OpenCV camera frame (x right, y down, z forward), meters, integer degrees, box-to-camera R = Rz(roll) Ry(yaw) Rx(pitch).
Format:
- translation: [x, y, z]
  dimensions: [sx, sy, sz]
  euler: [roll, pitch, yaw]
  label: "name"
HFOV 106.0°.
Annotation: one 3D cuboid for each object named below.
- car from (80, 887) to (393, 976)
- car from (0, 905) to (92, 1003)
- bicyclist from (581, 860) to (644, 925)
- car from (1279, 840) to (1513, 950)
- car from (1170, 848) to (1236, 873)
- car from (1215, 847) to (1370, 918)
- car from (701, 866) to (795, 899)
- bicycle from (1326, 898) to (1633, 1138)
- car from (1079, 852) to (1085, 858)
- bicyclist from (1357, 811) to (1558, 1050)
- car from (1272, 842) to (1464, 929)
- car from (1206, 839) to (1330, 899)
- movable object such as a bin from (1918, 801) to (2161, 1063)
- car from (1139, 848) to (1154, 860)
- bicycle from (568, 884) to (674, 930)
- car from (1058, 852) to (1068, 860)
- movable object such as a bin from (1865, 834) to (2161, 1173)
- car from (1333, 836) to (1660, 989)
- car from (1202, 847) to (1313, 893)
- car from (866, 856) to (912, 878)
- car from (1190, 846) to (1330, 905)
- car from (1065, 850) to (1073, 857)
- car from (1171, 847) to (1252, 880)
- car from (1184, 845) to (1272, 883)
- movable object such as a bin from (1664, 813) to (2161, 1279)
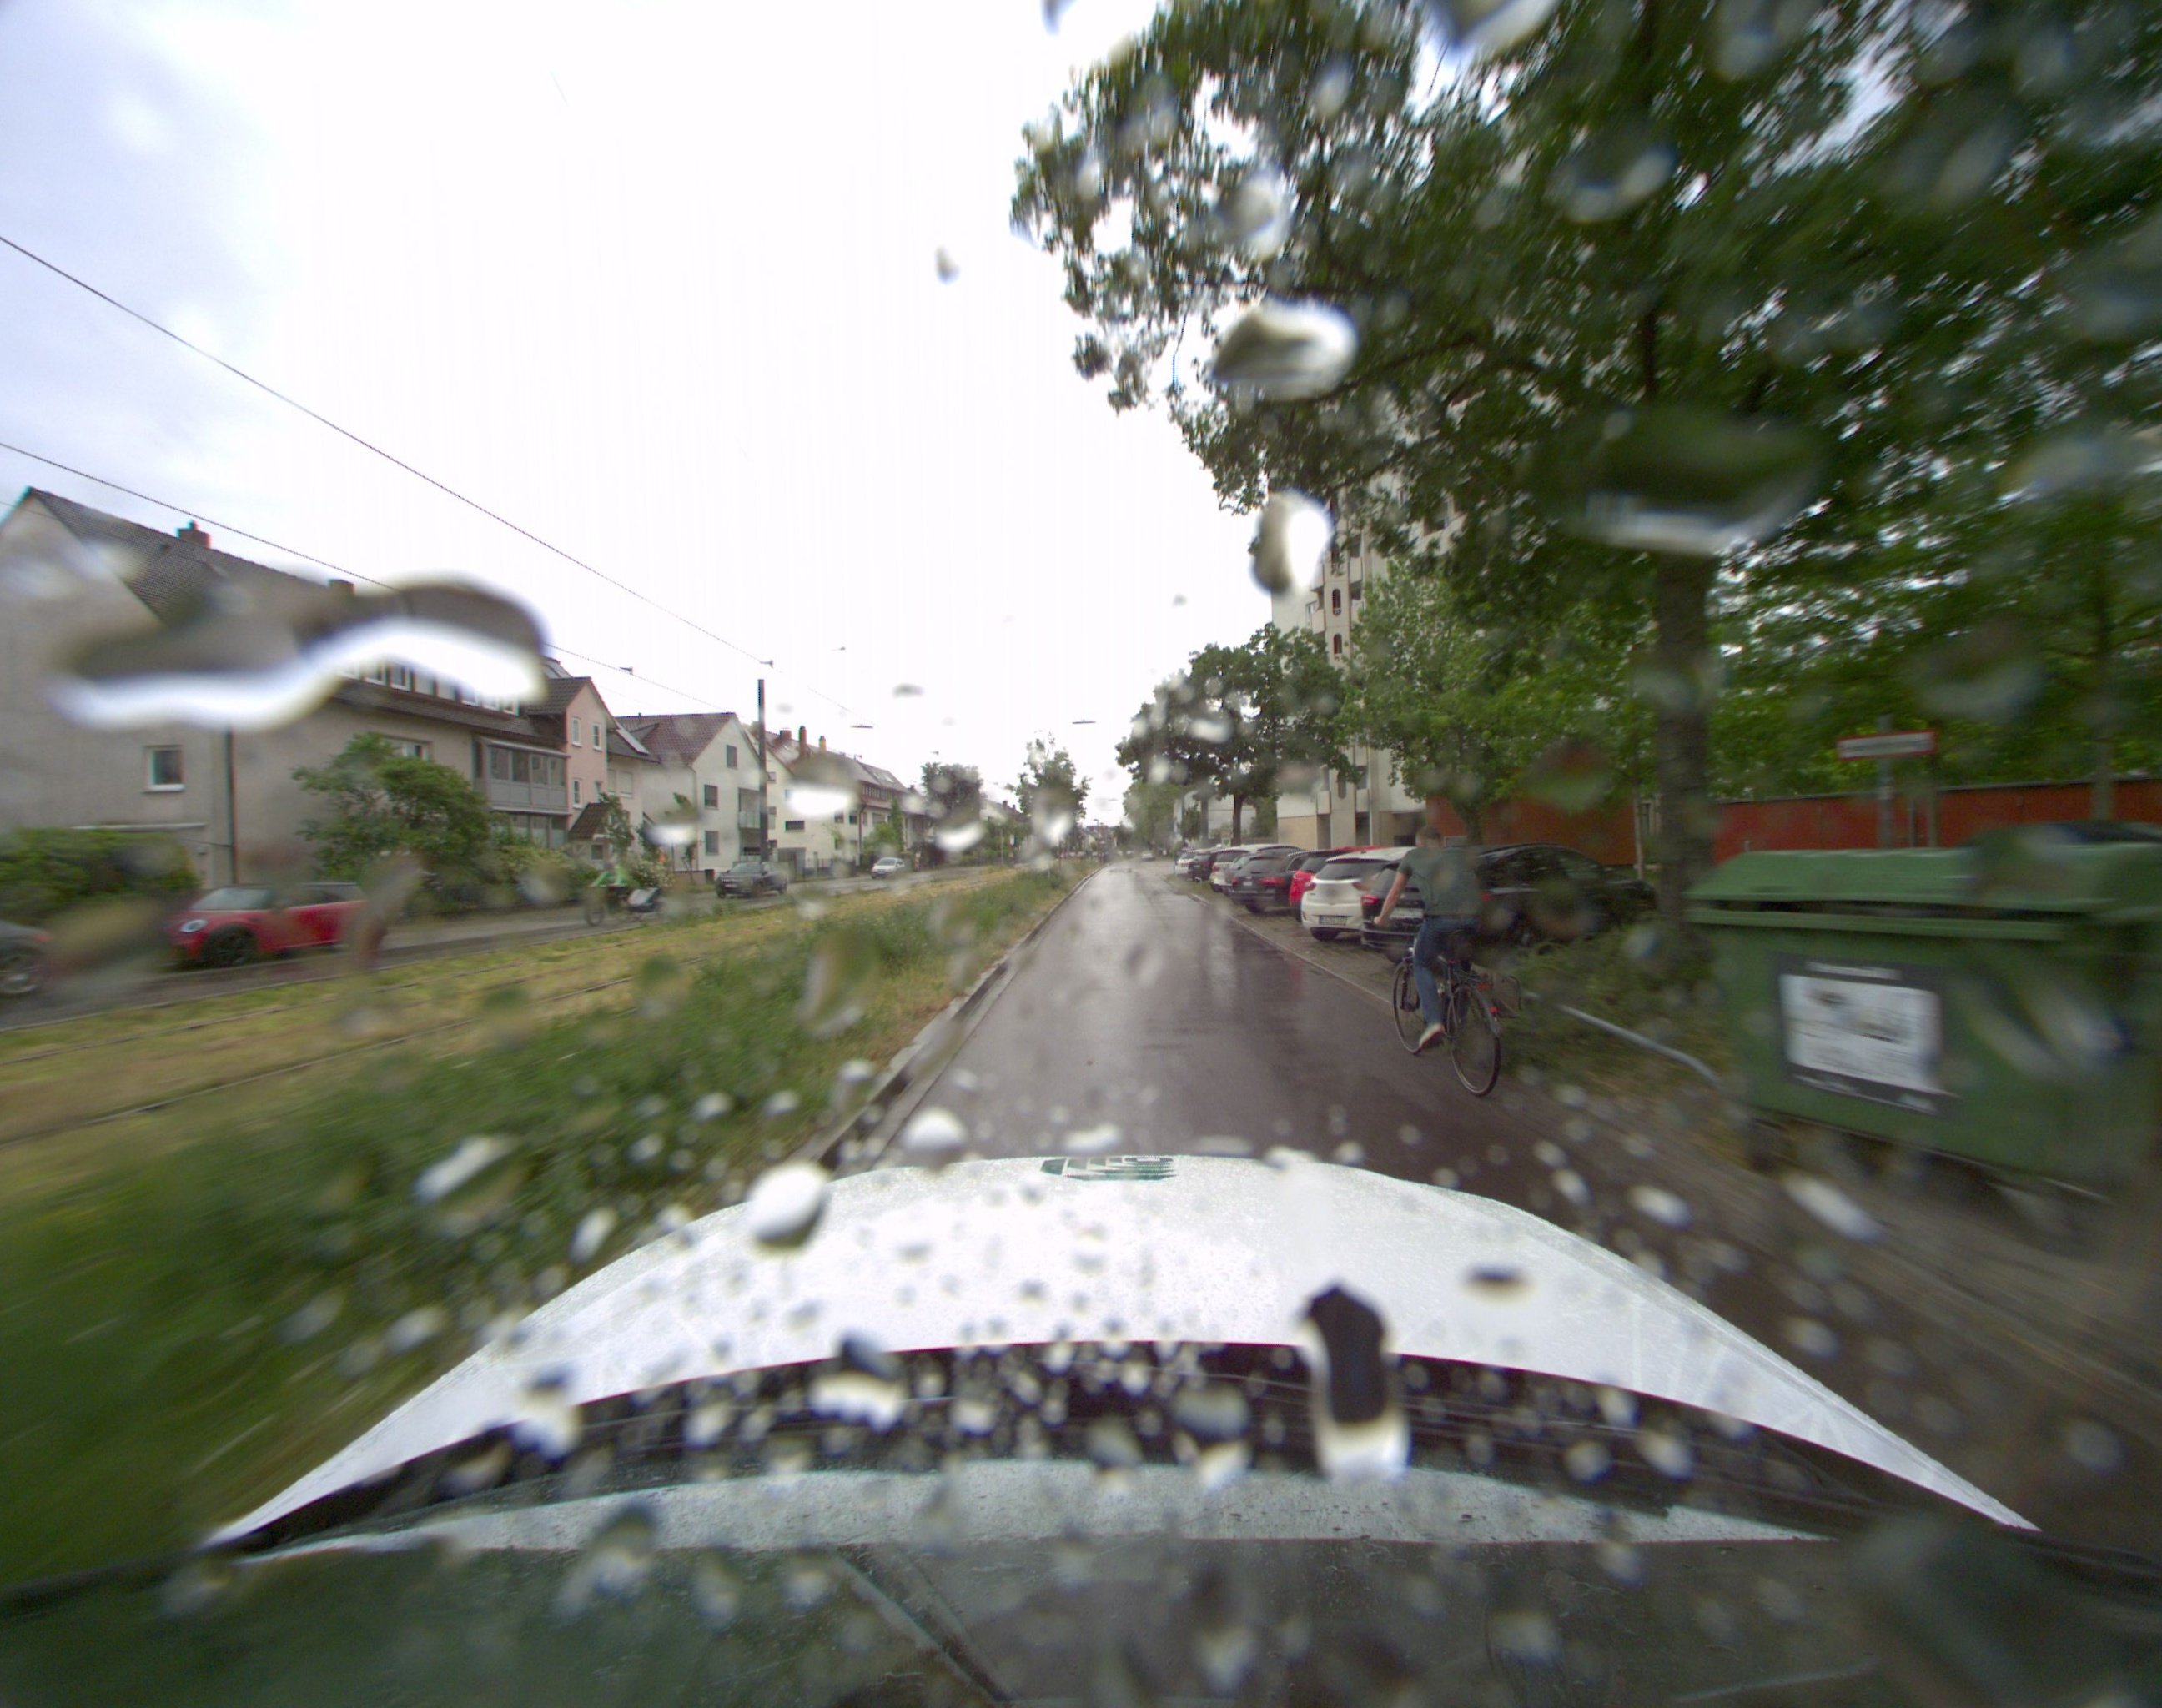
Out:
- translation: [-15.276, 1.332, 15.082]
  dimensions: [1.668, 1.244, 3.857]
  euler: [0, 0, 2]
  label: "car"
- translation: [-15.369, 1.378, 9.896]
  dimensions: [1.657, 1.244, 4.073]
  euler: [0, 0, 2]
  label: "car"
- translation: [-12.727, 1.020, 22.157]
  dimensions: [1.015, 1.685, 1.092]
  euler: [-2, 0, 1]
  label: "bicyclist"
- translation: [5.364, 0.598, 13.702]
  dimensions: [4.056, 1.519, 1.569]
  euler: [-2, 0, -33]
  label: "car"
- translation: [7.624, 0.398, 50.726]
  dimensions: [4.058, 1.369, 1.568]
  euler: [-2, 0, -35]
  label: "car"
- translation: [5.105, 0.611, 19.342]
  dimensions: [4.063, 1.443, 1.566]
  euler: [-2, 0, -43]
  label: "car"
- translation: [-14.515, 1.220, 35.803]
  dimensions: [1.888, 1.244, 4.693]
  euler: [0, 0, 4]
  label: "car"
- translation: [2.512, 0.945, 5.609]
  dimensions: [0.807, 1.096, 2.516]
  euler: [-2, 0, -1]
  label: "bicycle"
- translation: [0.360, 0.192, 233.241]
  dimensions: [1.676, 1.672, 4.002]
  euler: [-2, 0, 2]
  label: "car"
- translation: [2.490, 0.467, 5.525]
  dimensions: [0.807, 1.432, 1.059]
  euler: [-2, 0, -2]
  label: "bicyclist"
- translation: [5.985, 0.578, 16.833]
  dimensions: [4.056, 1.519, 1.569]
  euler: [-2, 0, -33]
  label: "car"
- translation: [6.059, 0.435, 26.194]
  dimensions: [4.058, 1.703, 1.568]
  euler: [-2, 0, -35]
  label: "car"
- translation: [6.632, 0.438, 5.442]
  dimensions: [1.250, 1.520, 1.079]
  euler: [-3, 0, -26]
  label: "movable object such as a bin"
- translation: [8.929, 0.021, 110.822]
  dimensions: [1.826, 1.586, 4.002]
  euler: [-2, 0, 2]
  label: "car"
- translation: [-12.723, 1.427, 22.700]
  dimensions: [1.014, 1.027, 3.198]
  euler: [-2, 0, 1]
  label: "bicycle"
- translation: [-3.910, 0.355, 176.752]
  dimensions: [1.836, 1.672, 4.002]
  euler: [-2, 0, 2]
  label: "car"
- translation: [5.165, 0.610, 3.905]
  dimensions: [1.687, 1.326, 1.392]
  euler: [-4, 1, -20]
  label: "movable object such as a bin"
- translation: [5.419, 0.605, 10.472]
  dimensions: [4.244, 1.519, 1.858]
  euler: [-2, 0, -33]
  label: "car"
- translation: [6.426, 0.540, 29.510]
  dimensions: [4.058, 1.445, 1.568]
  euler: [-2, 0, -35]
  label: "car"
- translation: [-13.587, 0.890, 57.908]
  dimensions: [1.888, 1.469, 4.693]
  euler: [0, 0, 4]
  label: "car"
- translation: [5.145, 0.562, 23.200]
  dimensions: [4.058, 1.443, 1.568]
  euler: [-2, 0, -35]
  label: "car"
- translation: [-2.800, -0.160, 187.435]
  dimensions: [1.676, 1.672, 4.002]
  euler: [-2, 0, 2]
  label: "car"
- translation: [6.541, 0.453, 40.730]
  dimensions: [4.058, 1.513, 1.568]
  euler: [-2, 0, -35]
  label: "car"
- translation: [6.859, 0.442, 37.800]
  dimensions: [4.058, 1.541, 1.568]
  euler: [-2, 0, -35]
  label: "car"
- translation: [3.702, 0.634, 3.558]
  dimensions: [1.129, 1.457, 1.392]
  euler: [-8, 2, -20]
  label: "movable object such as a bin"
